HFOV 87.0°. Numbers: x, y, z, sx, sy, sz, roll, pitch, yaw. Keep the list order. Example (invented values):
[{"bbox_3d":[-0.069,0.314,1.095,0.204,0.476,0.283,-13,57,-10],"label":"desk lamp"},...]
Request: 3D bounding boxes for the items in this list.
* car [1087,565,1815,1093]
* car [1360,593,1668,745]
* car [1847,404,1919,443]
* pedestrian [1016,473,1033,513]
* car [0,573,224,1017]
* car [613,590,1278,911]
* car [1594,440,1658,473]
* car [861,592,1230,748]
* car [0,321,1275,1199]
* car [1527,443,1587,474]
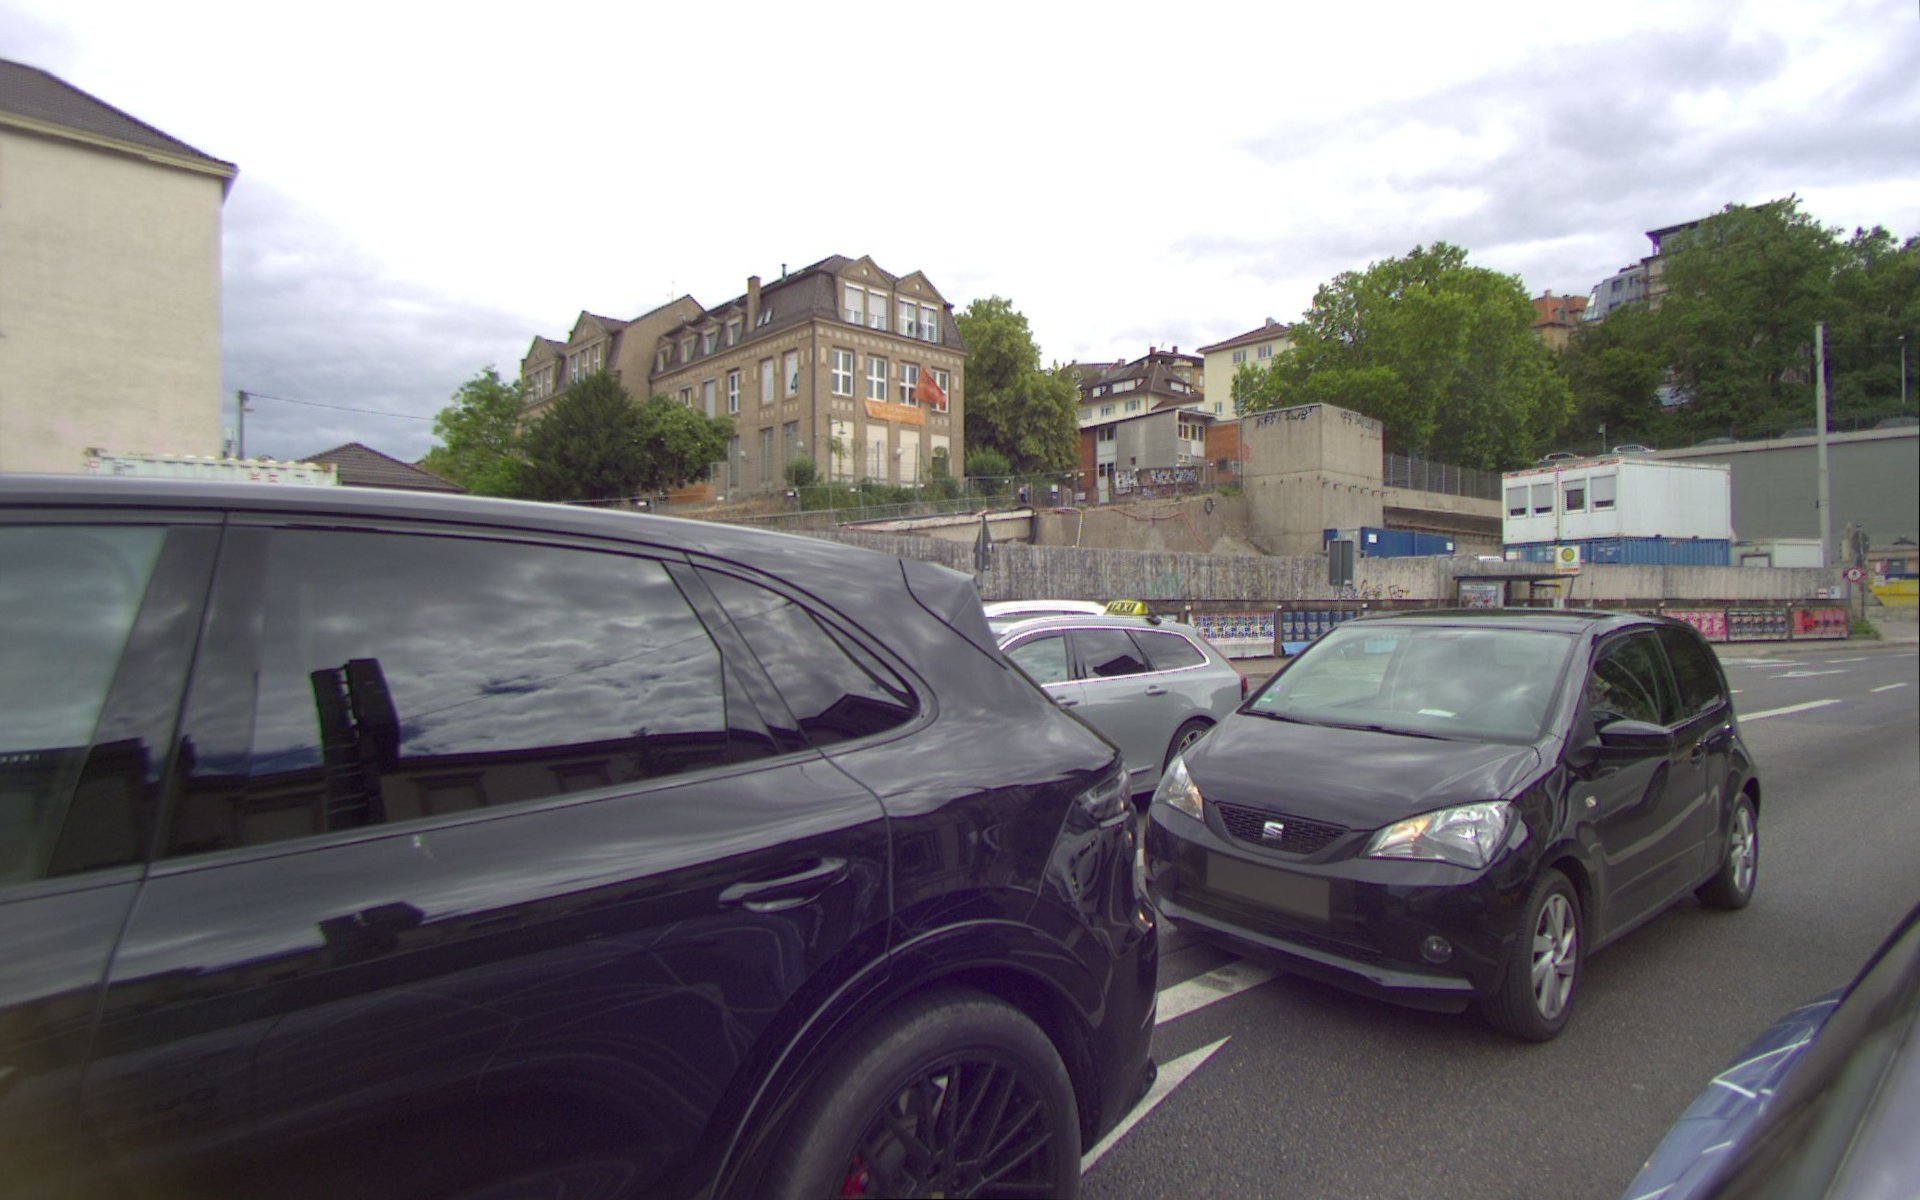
[{"bbox_3d":[2.520,0.662,4.779,3.812,1.515,1.667,0,-1,-40],"label":"car"},{"bbox_3d":[7.006,0.713,12.623,4.467,1.579,1.705,0,0,-37],"label":"car"},{"bbox_3d":[64.155,-12.186,70.034,1.966,2.039,3.991,0,1,-43],"label":"car"},{"bbox_3d":[3.480,-5.725,54.254,0.656,2.039,0.644,0,0,-45],"label":"pedestrian"},{"bbox_3d":[-4.890,0.694,3.413,3.812,1.563,1.667,0,-1,-40],"label":"car"},{"bbox_3d":[0.128,0.736,7.183,4.570,1.591,1.826,0,0,-39],"label":"car"},{"bbox_3d":[53.567,-11.504,81.426,3.988,2.039,1.968,0,1,45],"label":"car"},{"bbox_3d":[1.155,0.711,12.349,4.465,1.579,1.705,0,0,-36],"label":"car"},{"bbox_3d":[-1.629,0.586,1.694,4.552,1.707,1.959,0,-1,-40],"label":"car"},{"bbox_3d":[50.252,-11.912,85.215,3.988,2.039,1.968,0,1,45],"label":"car"}]
